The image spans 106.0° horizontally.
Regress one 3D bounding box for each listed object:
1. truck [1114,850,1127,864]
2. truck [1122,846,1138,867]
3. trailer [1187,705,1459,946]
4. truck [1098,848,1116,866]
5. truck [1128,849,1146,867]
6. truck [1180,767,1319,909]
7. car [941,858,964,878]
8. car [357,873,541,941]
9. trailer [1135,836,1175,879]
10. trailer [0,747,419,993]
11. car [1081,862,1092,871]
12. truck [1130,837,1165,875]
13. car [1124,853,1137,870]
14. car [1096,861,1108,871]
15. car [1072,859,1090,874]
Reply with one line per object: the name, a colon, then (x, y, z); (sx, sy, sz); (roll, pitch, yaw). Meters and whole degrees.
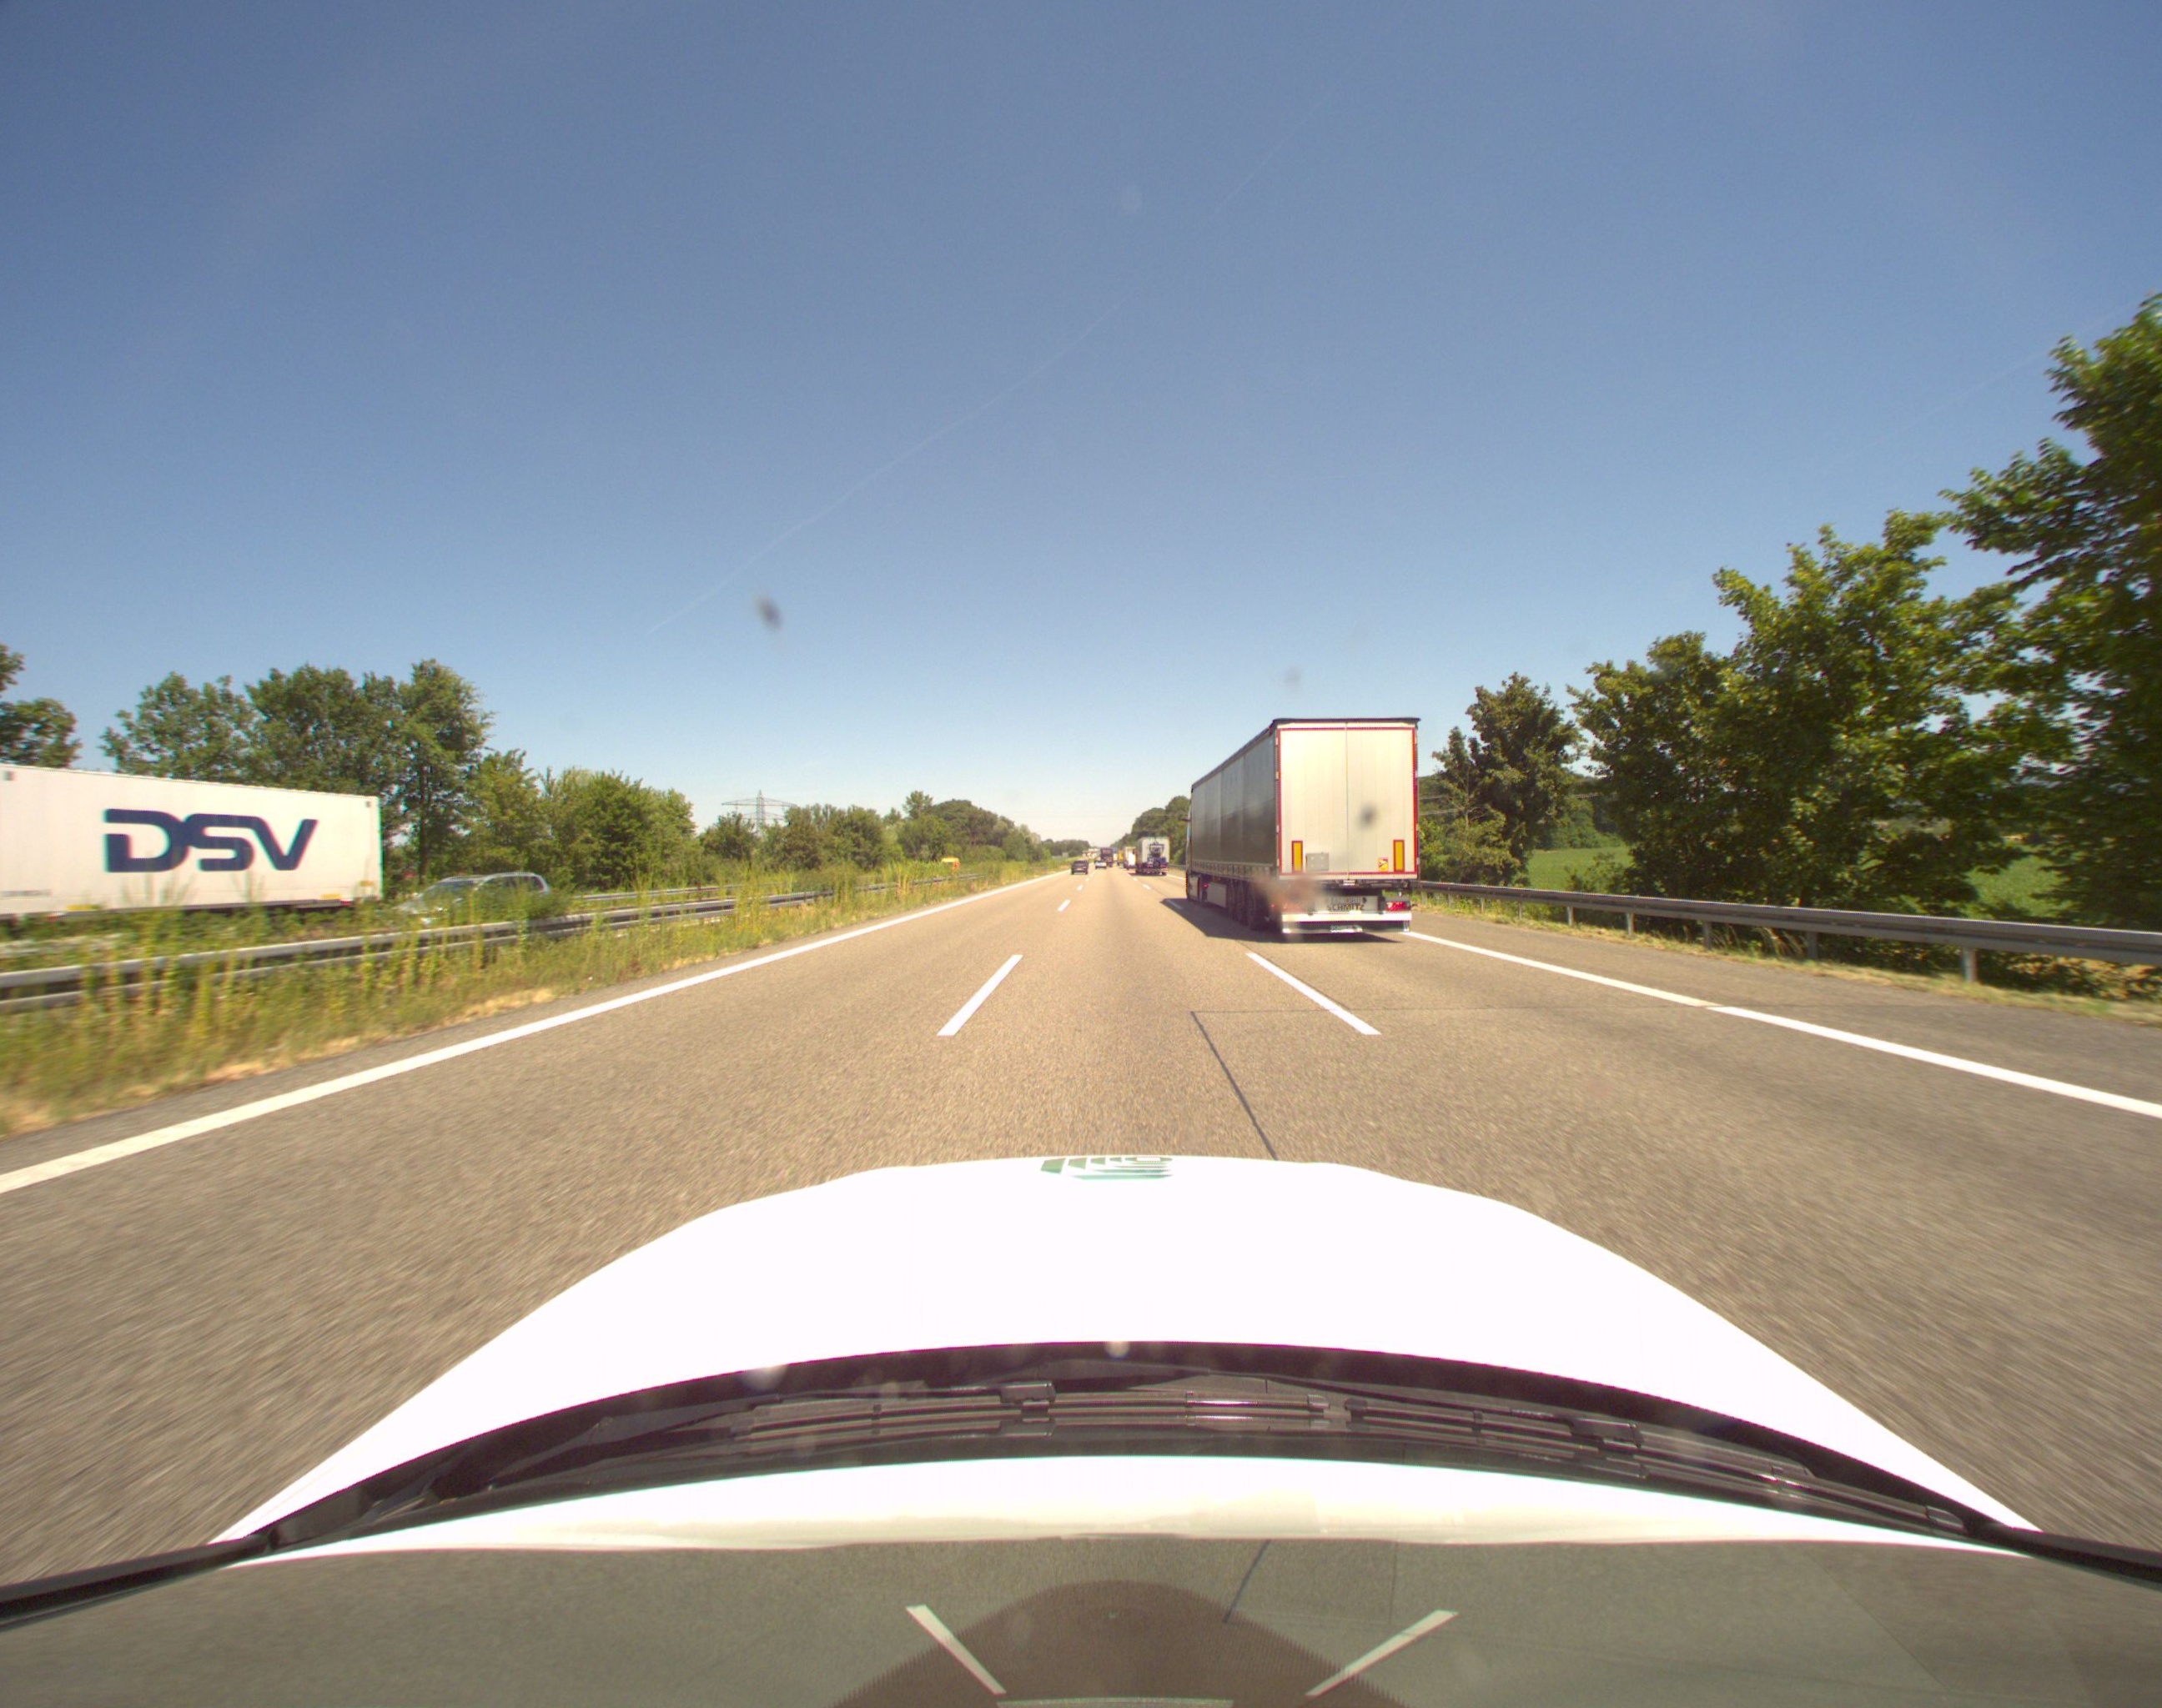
truck: (10.212, 0.765, 210.573); (3.475, 3.725, 7.114); (0, 0, 3)
truck: (8.816, 0.462, 146.842); (2.781, 3.725, 7.114); (0, 0, 3)
trailer: (5.098, -0.465, 21.004); (3.421, 4.181, 13.638); (0, 0, 2)
truck: (5.509, 0.536, 169.185); (3.652, 3.725, 7.114); (0, 0, 3)
truck: (11.536, 0.744, 169.355); (3.652, 3.725, 7.114); (0, 0, 3)
truck: (5.342, -0.423, 27.255); (3.451, 4.177, 6.846); (0, -1, 2)
car: (-17.385, 1.877, 110.290); (2.096, 2.557, 6.183); (-2, 0, -1)
car: (-16.085, 1.280, 21.014); (1.600, 1.442, 4.043); (0, 0, 0)
trailer: (7.064, 0.262, 79.201); (3.112, 3.926, 9.938); (0, 0, 1)
trailer: (-20.361, 0.254, 18.493); (3.036, 4.325, 9.036); (-1, 0, 2)
car: (1.031, 2.350, 151.519); (1.893, 1.531, 4.086); (0, 1, 2)
truck: (7.163, 0.186, 89.113); (3.048, 3.879, 10.032); (0, 0, 0)
car: (7.341, 1.072, 120.964); (1.900, 2.425, 4.287); (0, 1, 2)
car: (3.520, 2.027, 136.948); (1.893, 1.531, 4.086); (0, 1, 2)
car: (0.026, 1.363, 88.925); (1.752, 1.531, 4.287); (0, 1, 2)
